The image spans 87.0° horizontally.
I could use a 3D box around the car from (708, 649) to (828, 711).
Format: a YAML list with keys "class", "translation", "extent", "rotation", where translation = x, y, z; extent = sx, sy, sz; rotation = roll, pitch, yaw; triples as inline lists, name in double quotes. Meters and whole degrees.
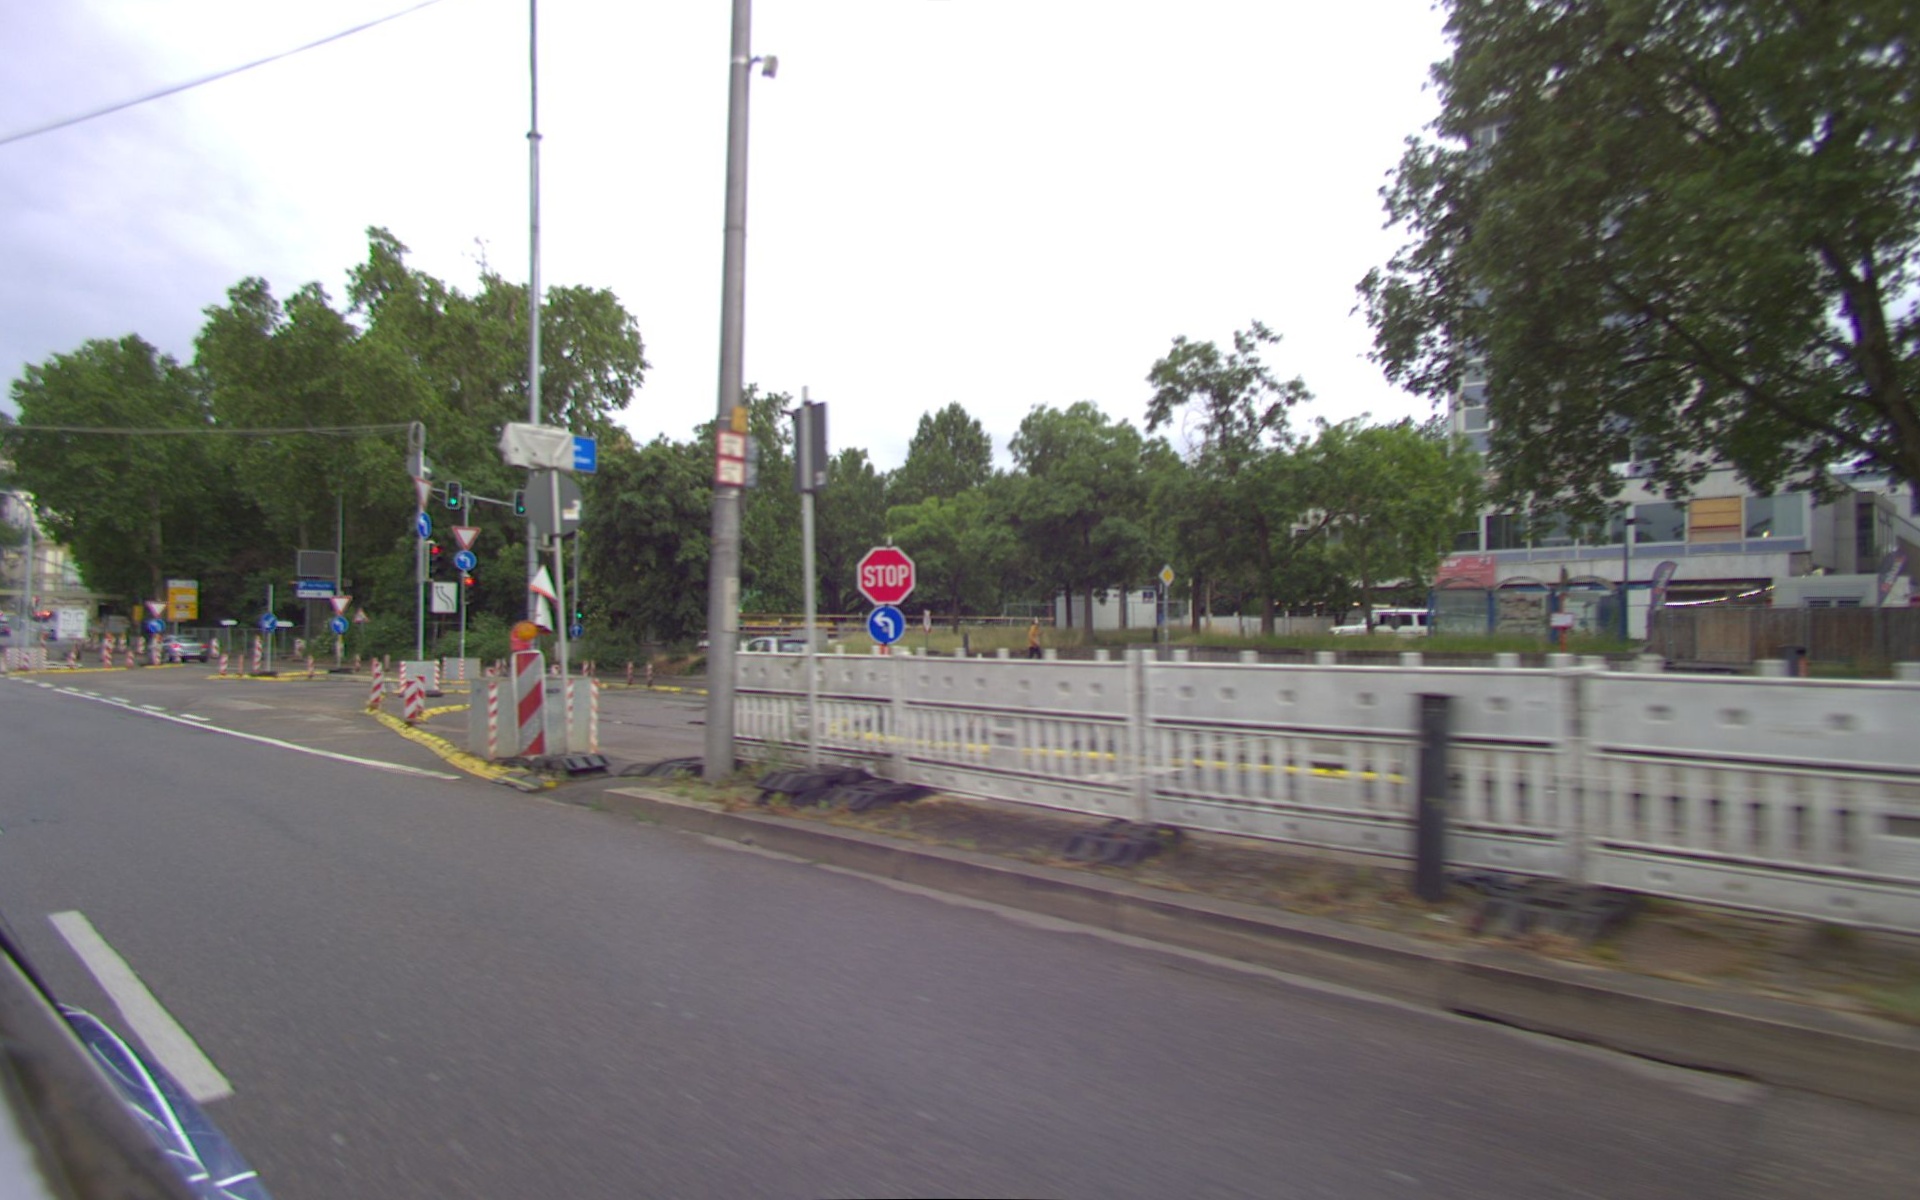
- class: "car"
  translation: [-5.202, 2.097, 27.247]
  extent: [3.174, 1.554, 1.659]
  rotation: [-2, -4, 45]

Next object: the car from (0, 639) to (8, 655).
- class: "car"
  translation: [-126.185, 6.206, 132.539]
  extent: [3.999, 2.029, 1.972]
  rotation: [-4, -2, 42]

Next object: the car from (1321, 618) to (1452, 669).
- class: "car"
  translation: [18.237, 1.860, 43.473]
  extent: [4.783, 2.029, 2.028]
  rotation: [-2, -2, 11]

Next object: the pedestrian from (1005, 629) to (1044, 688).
- class: "pedestrian"
  translation: [1.964, 1.793, 30.887]
  extent: [0.950, 1.738, 0.551]
  rotation: [-6, -5, 41]

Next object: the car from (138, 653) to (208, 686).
- class: "car"
  translation: [-42.159, 3.731, 54.216]
  extent: [4.143, 1.554, 1.646]
  rotation: [-5, -4, 32]
